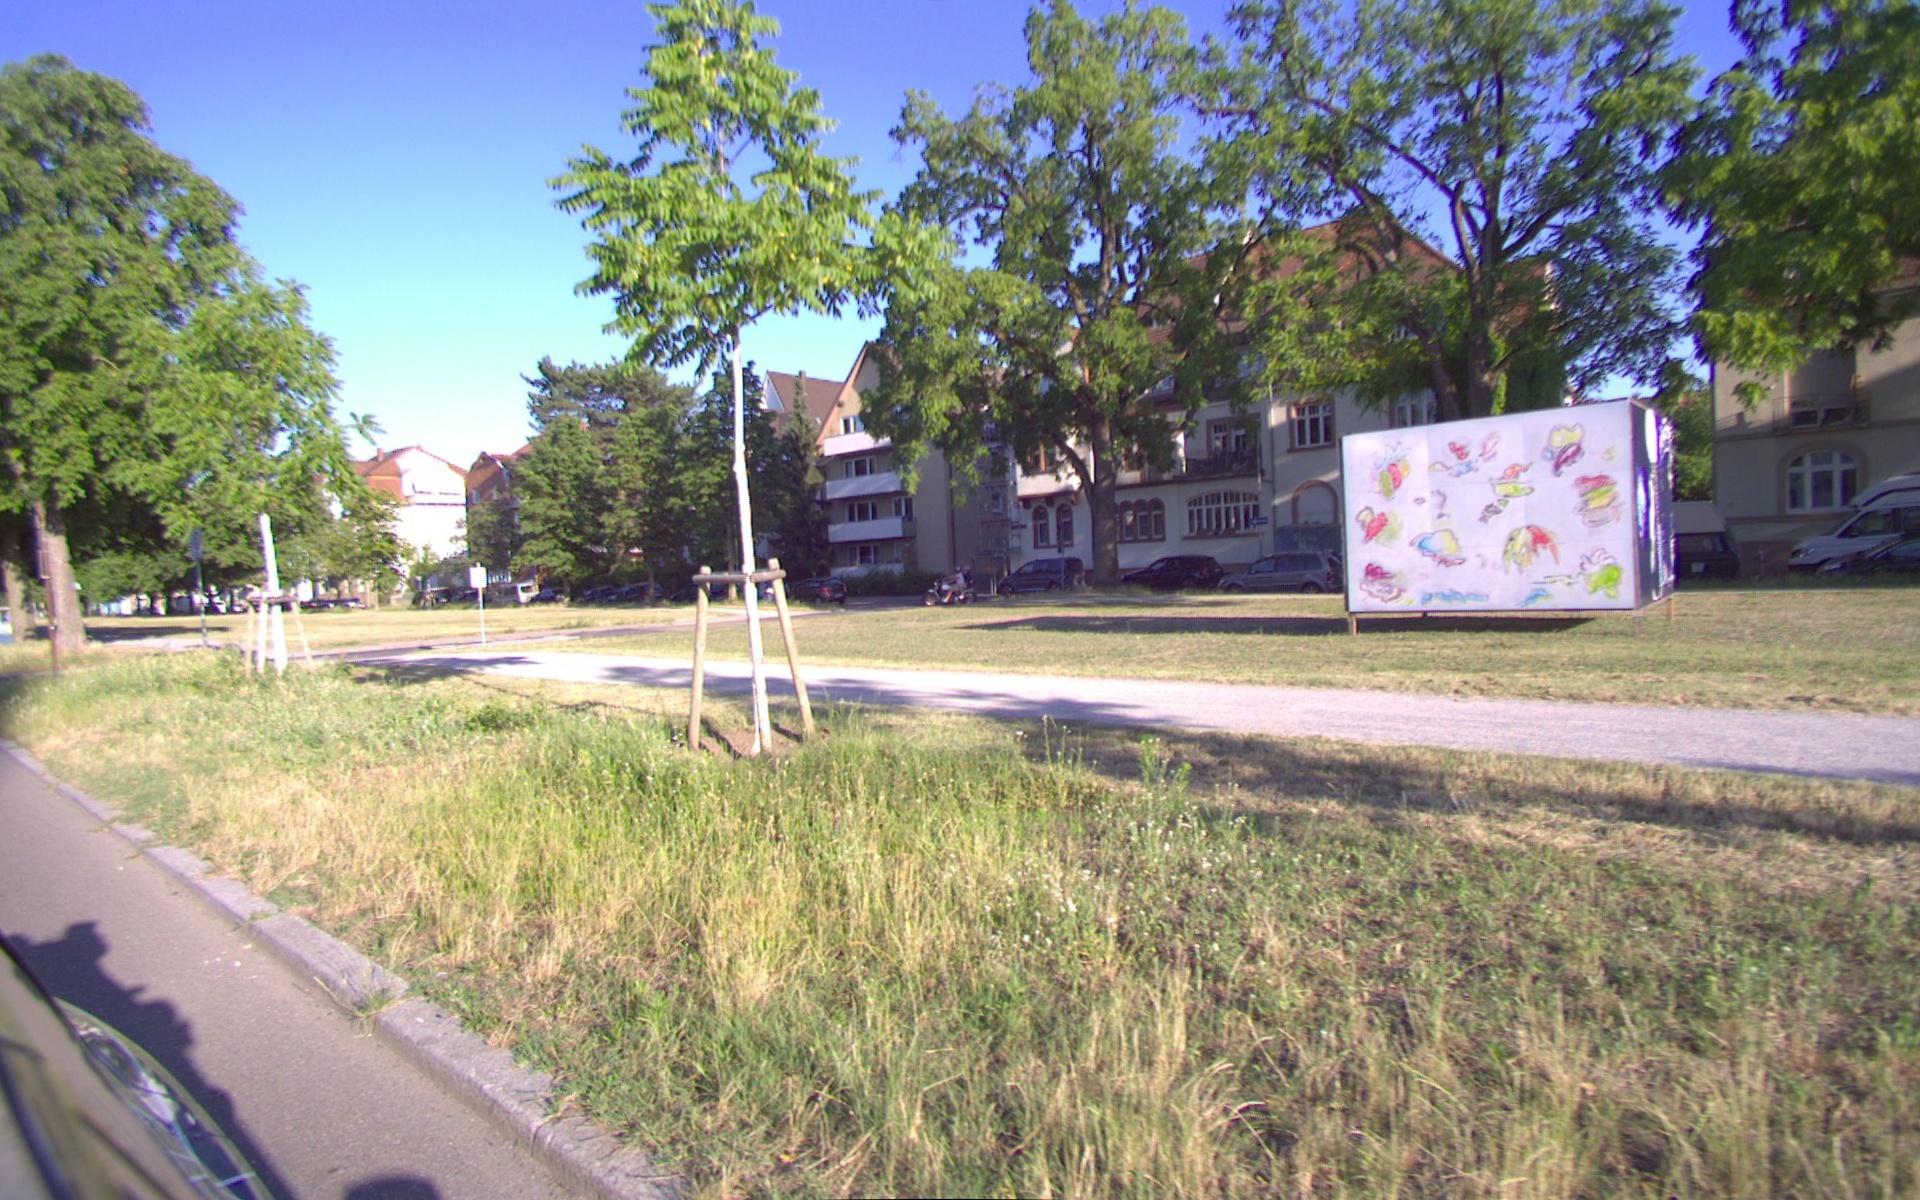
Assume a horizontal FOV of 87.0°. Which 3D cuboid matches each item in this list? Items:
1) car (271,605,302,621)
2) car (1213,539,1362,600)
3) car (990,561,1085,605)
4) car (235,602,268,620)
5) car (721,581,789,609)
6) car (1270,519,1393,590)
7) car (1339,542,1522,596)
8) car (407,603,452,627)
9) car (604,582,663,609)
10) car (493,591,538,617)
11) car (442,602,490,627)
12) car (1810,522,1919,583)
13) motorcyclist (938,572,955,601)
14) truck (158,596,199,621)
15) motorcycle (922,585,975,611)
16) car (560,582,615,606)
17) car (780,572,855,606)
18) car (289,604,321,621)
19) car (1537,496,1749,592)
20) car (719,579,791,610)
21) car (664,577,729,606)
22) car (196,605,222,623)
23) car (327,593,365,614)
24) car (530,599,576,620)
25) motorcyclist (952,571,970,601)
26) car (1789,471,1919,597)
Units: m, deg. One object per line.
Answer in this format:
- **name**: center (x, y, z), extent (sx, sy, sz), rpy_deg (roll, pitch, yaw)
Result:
- **car**: center (-82.608, 1.574, 124.089), extent (3.995, 1.859, 1.974), rpy_deg (-1, -2, 39)
- **car**: center (11.023, -0.999, 34.199), extent (4.341, 1.742, 1.973), rpy_deg (-3, 0, 40)
- **car**: center (3.653, -0.808, 48.144), extent (4.281, 1.838, 1.605), rpy_deg (-3, 0, 37)
- **car**: center (-81.184, 1.273, 115.962), extent (3.997, 2.029, 2.098), rpy_deg (-1, -2, 40)
- **car**: center (-12.726, -0.333, 62.798), extent (3.993, 1.510, 1.975), rpy_deg (-3, 0, 37)
- **car**: center (14.240, -1.698, 38.928), extent (3.999, 2.560, 1.973), rpy_deg (0, 2, 42)
- **car**: center (15.673, -1.014, 33.922), extent (5.171, 1.537, 1.972), rpy_deg (-2, 1, 42)
- **car**: center (-42.881, 1.206, 81.757), extent (3.999, 1.858, 1.972), rpy_deg (-1, -2, 42)
- **car**: center (-19.662, -0.243, 60.862), extent (3.637, 1.427, 1.542), rpy_deg (-3, 0, 37)
- **car**: center (-37.113, 0.346, 84.524), extent (4.001, 2.029, 1.971), rpy_deg (0, -5, 44)
- **car**: center (-37.772, 1.146, 77.310), extent (3.999, 1.858, 1.972), rpy_deg (-1, -2, 42)
- **car**: center (22.649, -1.160, 23.731), extent (4.043, 1.325, 1.832), rpy_deg (-1, 2, 44)
- **motorcyclist**: center (-0.560, -0.550, 41.072), extent (0.566, 1.158, 0.751), rpy_deg (-3, 0, -6)
- **truck**: center (-108.058, 1.147, 139.838), extent (7.704, 3.169, 2.750), rpy_deg (-2, 2, 40)
- **motorcycle**: center (-0.458, -0.088, 41.160), extent (2.081, 0.964, 0.566), rpy_deg (-3, 0, 0)
- **car**: center (-23.571, -0.388, 64.026), extent (3.637, 1.341, 1.542), rpy_deg (-3, 0, 37)
- **car**: center (-7.116, -0.545, 50.433), extent (1.868, 1.534, 3.683), rpy_deg (-2, 0, -43)
- **car**: center (-76.902, 1.486, 118.828), extent (3.995, 1.897, 1.974), rpy_deg (-1, -2, 39)
- **car**: center (18.474, -1.441, 27.474), extent (4.566, 2.191, 1.974), rpy_deg (-3, 0, 39)
- **car**: center (-10.752, -0.283, 53.094), extent (3.637, 1.418, 1.672), rpy_deg (-3, 0, 37)
- **car**: center (-14.797, -0.465, 56.733), extent (3.637, 1.379, 1.542), rpy_deg (-3, 0, 37)
- **car**: center (-96.200, 1.804, 129.556), extent (4.001, 2.029, 1.972), rpy_deg (-3, 0, 44)
- **car**: center (-58.050, 0.326, 95.708), extent (3.999, 1.715, 1.973), rpy_deg (-3, 0, 42)
- **car**: center (-32.424, 0.775, 80.626), extent (4.001, 1.617, 1.971), rpy_deg (-1, -2, 44)
- **motorcyclist**: center (0.042, -0.563, 41.025), extent (0.566, 1.158, 0.751), rpy_deg (-3, 0, -6)
- **car**: center (26.780, -1.881, 27.759), extent (6.072, 3.274, 1.973), rpy_deg (-3, 0, 41)
